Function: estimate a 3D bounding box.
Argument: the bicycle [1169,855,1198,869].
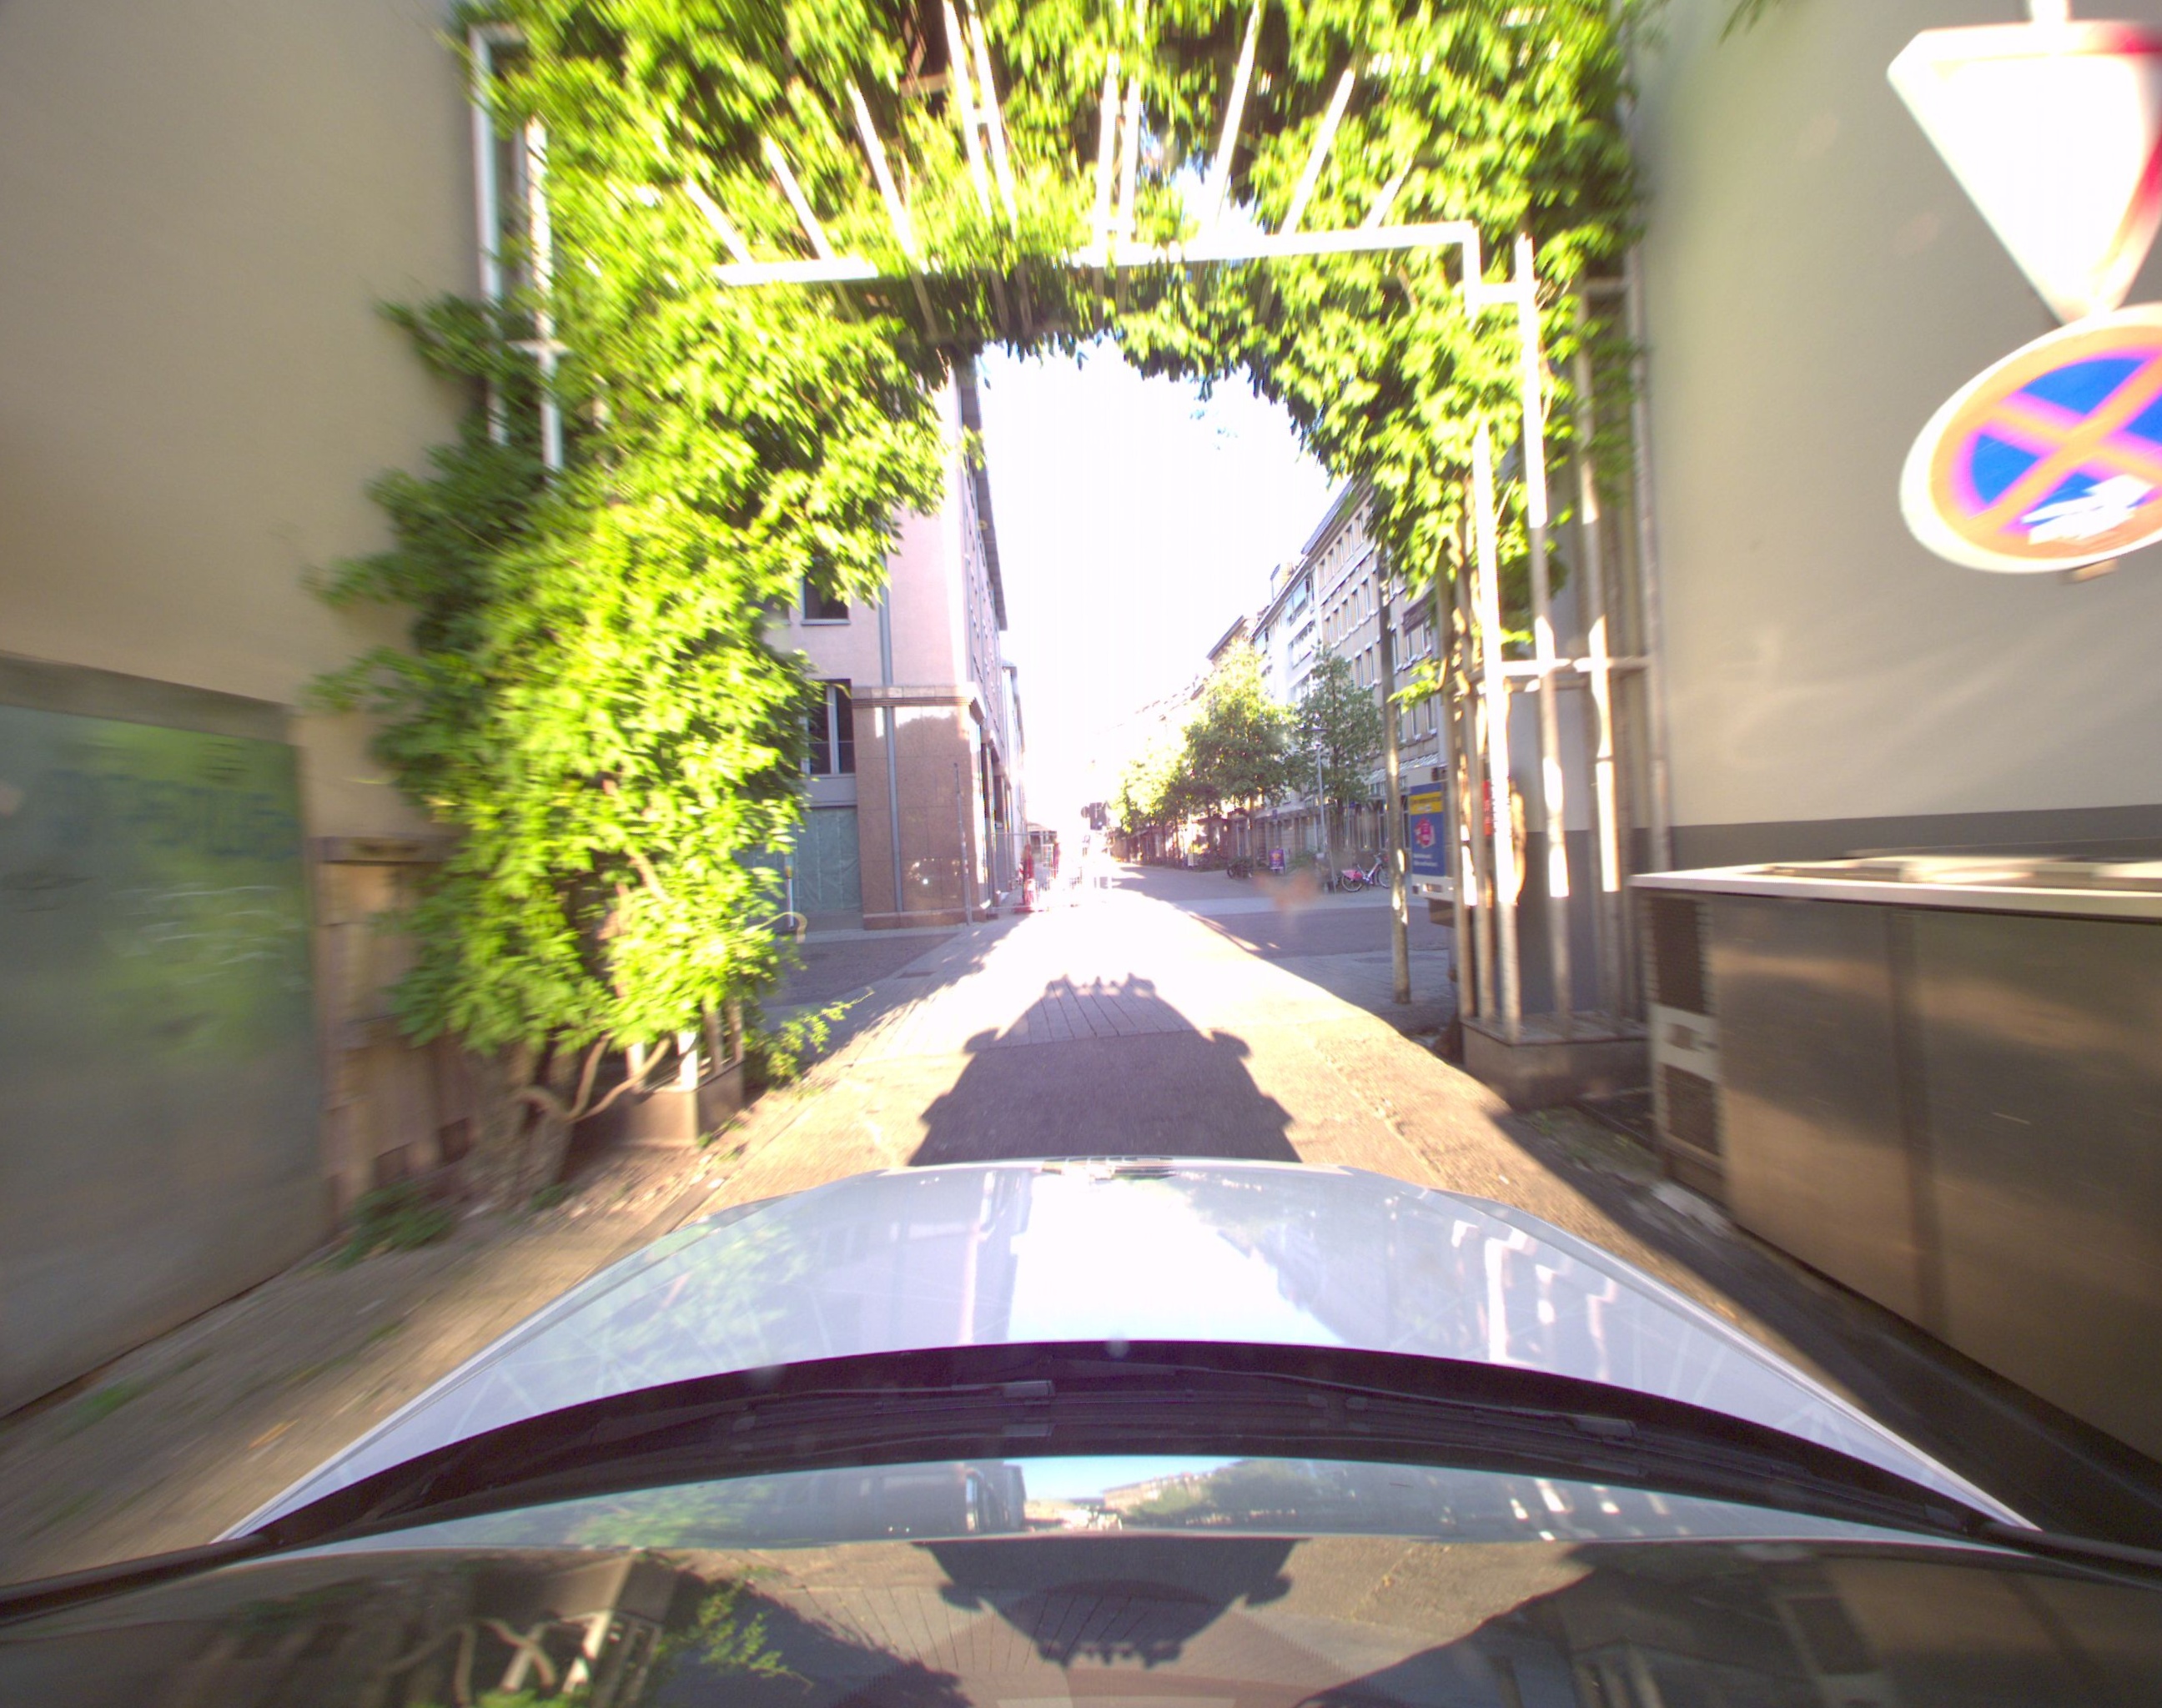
[{"bbox_3d":[8.059,0.629,64.134,2.152,0.926,0.589,-4,-1,-8],"label":"bicycle"}]

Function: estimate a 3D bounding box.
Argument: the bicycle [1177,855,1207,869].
[{"bbox_3d":[8.470,0.611,62.150,2.152,0.926,0.589,-4,-1,-8],"label":"bicycle"}]

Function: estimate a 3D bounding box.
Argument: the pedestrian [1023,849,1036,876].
[{"bbox_3d":[-3.242,0.506,51.428,0.651,1.651,0.635,-4,0,4],"label":"pedestrian"}]

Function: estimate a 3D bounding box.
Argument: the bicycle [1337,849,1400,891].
[{"bbox_3d":[8.499,0.477,24.107,1.643,1.050,0.666,-6,0,17],"label":"bicycle"}]

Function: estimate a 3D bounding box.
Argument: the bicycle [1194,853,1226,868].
[{"bbox_3d":[9.229,0.460,58.058,2.157,0.926,0.587,-4,-1,-16],"label":"bicycle"}]

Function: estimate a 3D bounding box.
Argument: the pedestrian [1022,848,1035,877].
[{"bbox_3d":[-3.286,0.519,50.811,0.651,1.764,0.635,-4,0,4],"label":"pedestrian"}]

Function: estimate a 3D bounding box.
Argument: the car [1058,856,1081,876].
[{"bbox_3d":[-1.115,1.089,76.054,1.839,1.684,3.638,-4,0,-5],"label":"car"}]

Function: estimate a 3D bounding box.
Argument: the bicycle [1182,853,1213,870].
[{"bbox_3d":[8.543,0.550,59.848,2.138,1.061,0.593,-4,-1,13],"label":"bicycle"}]

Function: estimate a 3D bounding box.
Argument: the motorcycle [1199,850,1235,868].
[{"bbox_3d":[9.555,0.366,57.068,2.482,1.095,0.586,-3,-1,-23],"label":"motorcycle"}]

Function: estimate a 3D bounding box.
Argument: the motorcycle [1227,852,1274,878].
[{"bbox_3d":[8.390,0.541,40.384,2.148,1.151,0.493,-4,-1,-4],"label":"motorcycle"}]
